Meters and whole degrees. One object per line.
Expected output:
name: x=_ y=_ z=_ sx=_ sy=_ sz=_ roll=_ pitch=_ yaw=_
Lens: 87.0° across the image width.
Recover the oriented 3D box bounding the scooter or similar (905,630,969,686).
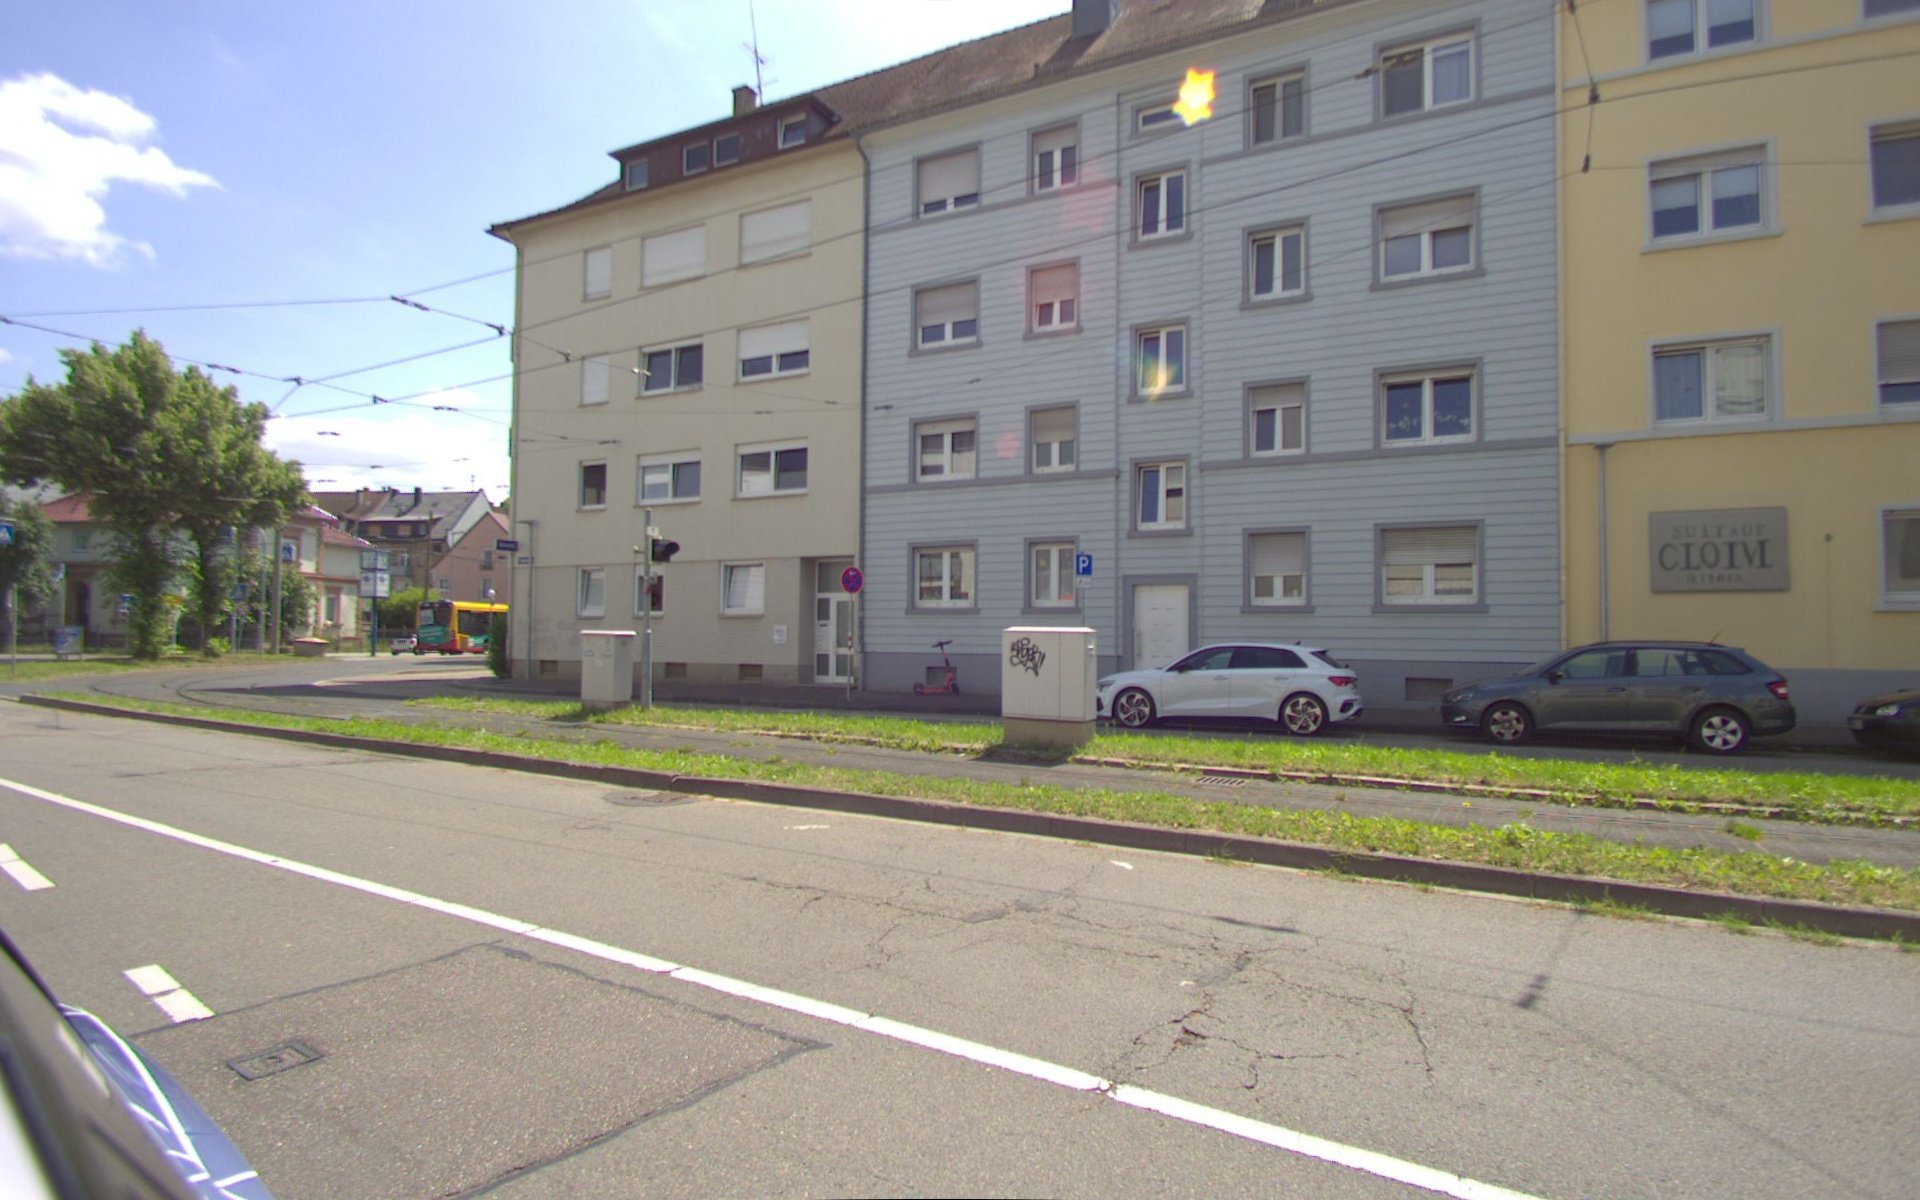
scooter or similar: x=-0.513 y=1.289 z=22.733 sx=1.314 sy=1.232 sz=0.634 roll=-1 pitch=-2 yaw=27

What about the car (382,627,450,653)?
car: x=-33.665 y=2.503 z=62.749 sx=1.759 sy=1.475 sz=3.736 roll=-1 pitch=-4 yaw=9

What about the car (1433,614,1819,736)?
car: x=9.150 y=1.027 z=14.438 sx=4.302 sy=1.516 sz=1.917 roll=-1 pitch=-4 yaw=26

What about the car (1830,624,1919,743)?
car: x=13.289 y=1.011 z=12.013 sx=4.122 sy=1.411 sz=1.819 roll=-1 pitch=-4 yaw=28

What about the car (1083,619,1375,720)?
car: x=4.389 y=1.118 z=16.546 sx=4.352 sy=1.462 sz=1.917 roll=-1 pitch=-5 yaw=26

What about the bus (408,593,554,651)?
bus: x=-29.961 y=1.541 z=64.066 sx=2.678 sy=3.322 sz=10.826 roll=-1 pitch=-3 yaw=9
